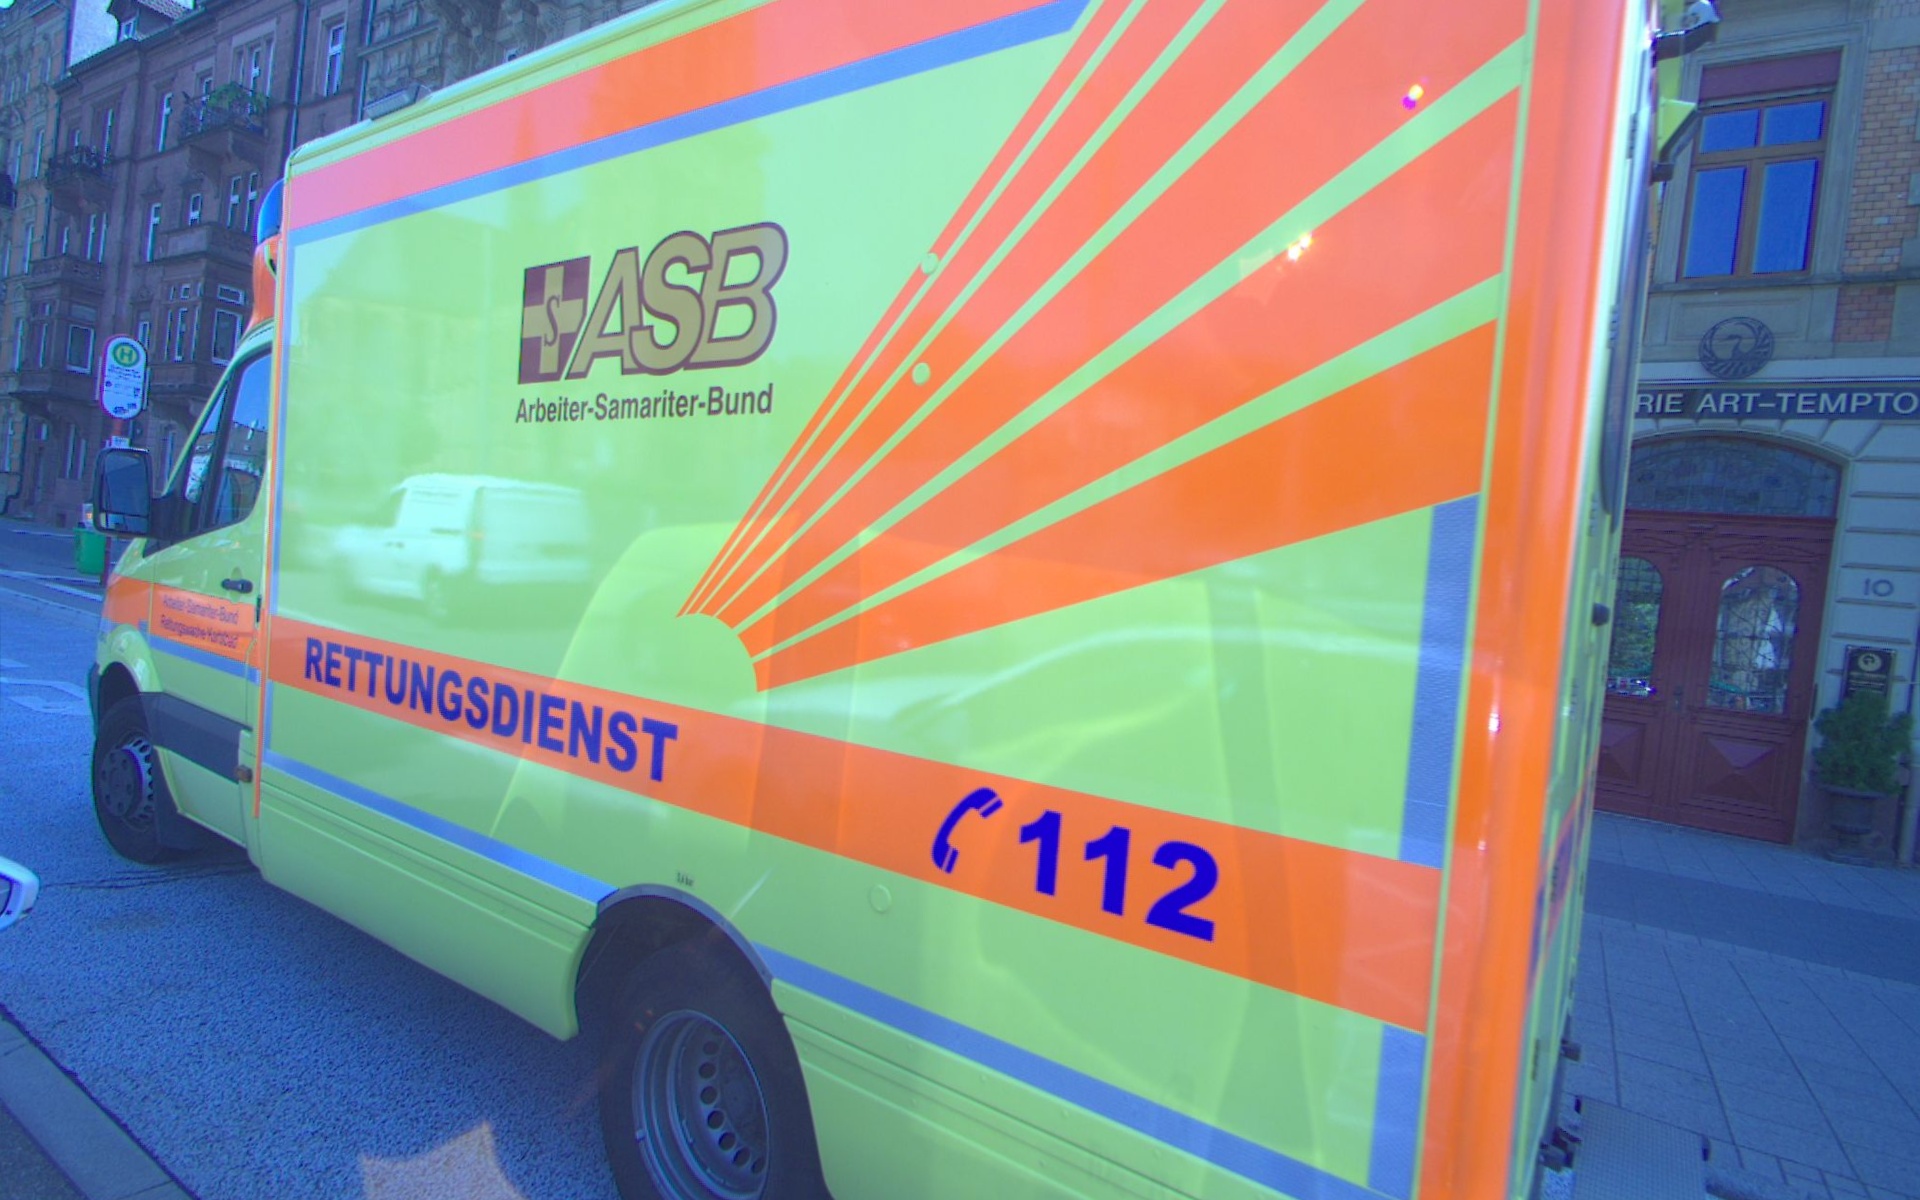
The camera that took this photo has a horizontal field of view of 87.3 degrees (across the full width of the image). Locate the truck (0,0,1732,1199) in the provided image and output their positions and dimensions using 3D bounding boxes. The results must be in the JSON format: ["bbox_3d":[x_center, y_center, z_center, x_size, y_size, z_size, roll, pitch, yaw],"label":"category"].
[{"bbox_3d":[-1.264,-0.128,3.659,6.239,2.807,2.326,7,3,35],"label":"truck"}]

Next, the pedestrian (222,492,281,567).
[{"bbox_3d":[-18.359,-1.819,26.085,0.729,1.800,0.870,7,1,4],"label":"pedestrian"}]
